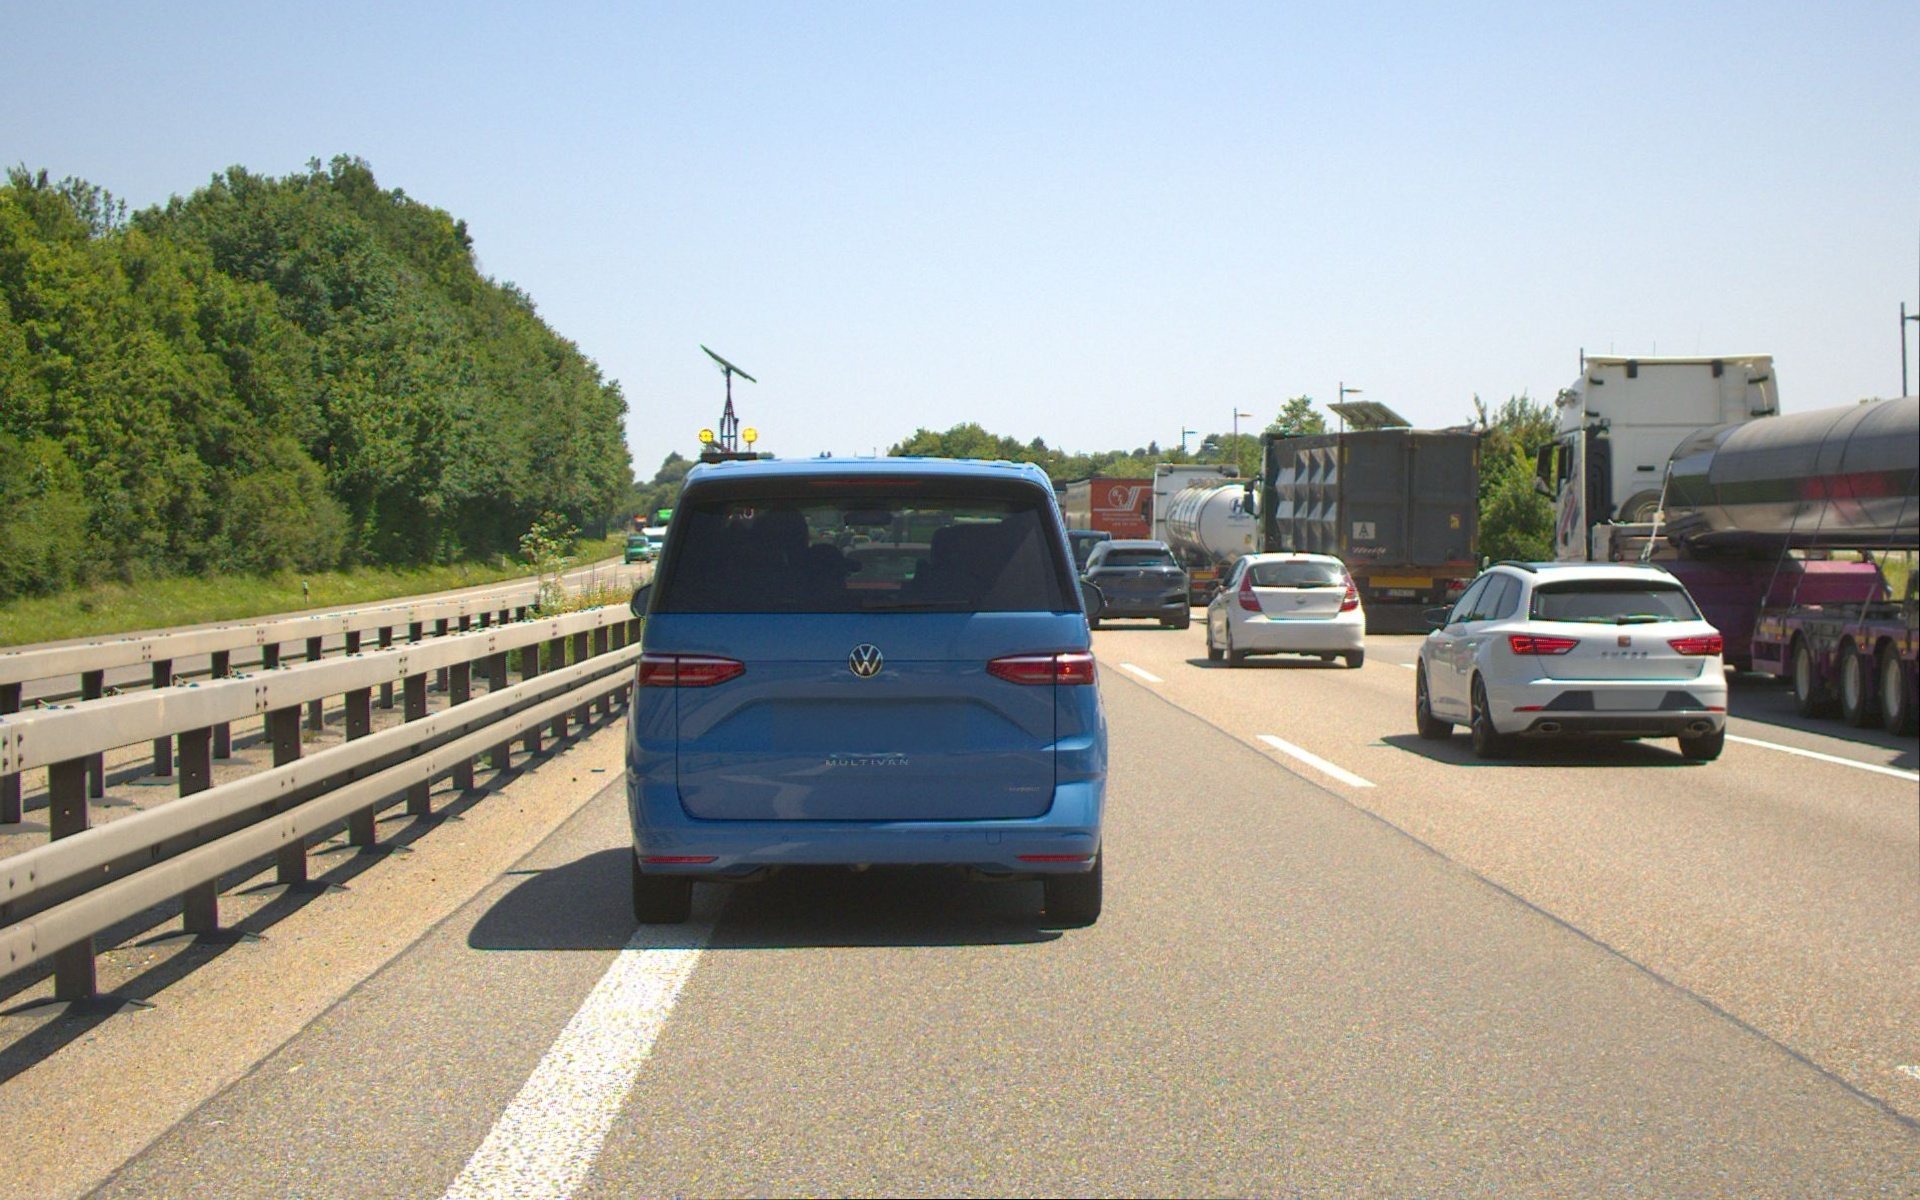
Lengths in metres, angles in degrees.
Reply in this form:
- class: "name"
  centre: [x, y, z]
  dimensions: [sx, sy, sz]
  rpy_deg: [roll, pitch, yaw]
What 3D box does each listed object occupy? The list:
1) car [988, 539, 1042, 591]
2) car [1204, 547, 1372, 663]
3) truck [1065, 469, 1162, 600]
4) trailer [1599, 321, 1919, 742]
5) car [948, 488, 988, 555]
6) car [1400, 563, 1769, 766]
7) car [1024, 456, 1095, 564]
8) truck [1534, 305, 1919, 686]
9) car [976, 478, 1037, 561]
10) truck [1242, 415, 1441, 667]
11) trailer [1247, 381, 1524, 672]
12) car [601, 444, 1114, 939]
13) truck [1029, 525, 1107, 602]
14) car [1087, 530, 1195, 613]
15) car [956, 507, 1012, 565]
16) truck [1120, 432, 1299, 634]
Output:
- class: "car"
  centre: [2.205, -1.398, 138.647]
  dimensions: [1.993, 2.007, 4.000]
  rpy_deg: [1, 0, -1]
- class: "car"
  centre: [4.308, 0.060, 45.651]
  dimensions: [1.840, 1.449, 4.000]
  rpy_deg: [1, 0, 0]
- class: "truck"
  centre: [5.932, -2.468, 134.279]
  dimensions: [3.068, 4.903, 10.690]
  rpy_deg: [1, 0, -1]
- class: "trailer"
  centre: [8.955, -0.495, 31.358]
  dimensions: [3.646, 3.068, 15.771]
  rpy_deg: [1, 0, 1]
- class: "car"
  centre: [0.579, -5.790, 255.121]
  dimensions: [2.716, 4.697, 11.561]
  rpy_deg: [1, 0, -1]
- class: "car"
  centre: [4.564, 0.426, 25.716]
  dimensions: [1.867, 1.356, 4.000]
  rpy_deg: [1, 1, -2]
- class: "car"
  centre: [4.995, -4.478, 173.678]
  dimensions: [3.218, 5.239, 8.144]
  rpy_deg: [1, 0, 0]
- class: "truck"
  centre: [9.199, -1.139, 40.954]
  dimensions: [3.626, 4.080, 7.523]
  rpy_deg: [1, 0, 2]
- class: "car"
  centre: [3.014, -5.236, 225.144]
  dimensions: [3.218, 5.239, 8.145]
  rpy_deg: [1, 0, -4]
- class: "truck"
  centre: [8.115, -1.218, 73.882]
  dimensions: [3.659, 5.162, 5.708]
  rpy_deg: [1, 0, 1]
- class: "trailer"
  centre: [8.073, -1.318, 67.390]
  dimensions: [3.646, 5.119, 13.076]
  rpy_deg: [1, 0, 0]
- class: "car"
  centre: [-0.363, 0.338, 14.894]
  dimensions: [1.901, 1.831, 4.000]
  rpy_deg: [1, 0, 1]
- class: "truck"
  centre: [2.676, -0.890, 85.911]
  dimensions: [1.725, 1.851, 4.000]
  rpy_deg: [1, 0, -1]
- class: "car"
  centre: [3.449, -0.534, 65.935]
  dimensions: [1.781, 1.519, 4.000]
  rpy_deg: [1, 0, -1]
- class: "car"
  centre: [1.135, -3.080, 167.305]
  dimensions: [2.550, 2.708, 5.621]
  rpy_deg: [1, 0, -1]
- class: "truck"
  centre: [6.825, -1.760, 96.837]
  dimensions: [3.621, 5.195, 15.689]
  rpy_deg: [1, 0, -1]
